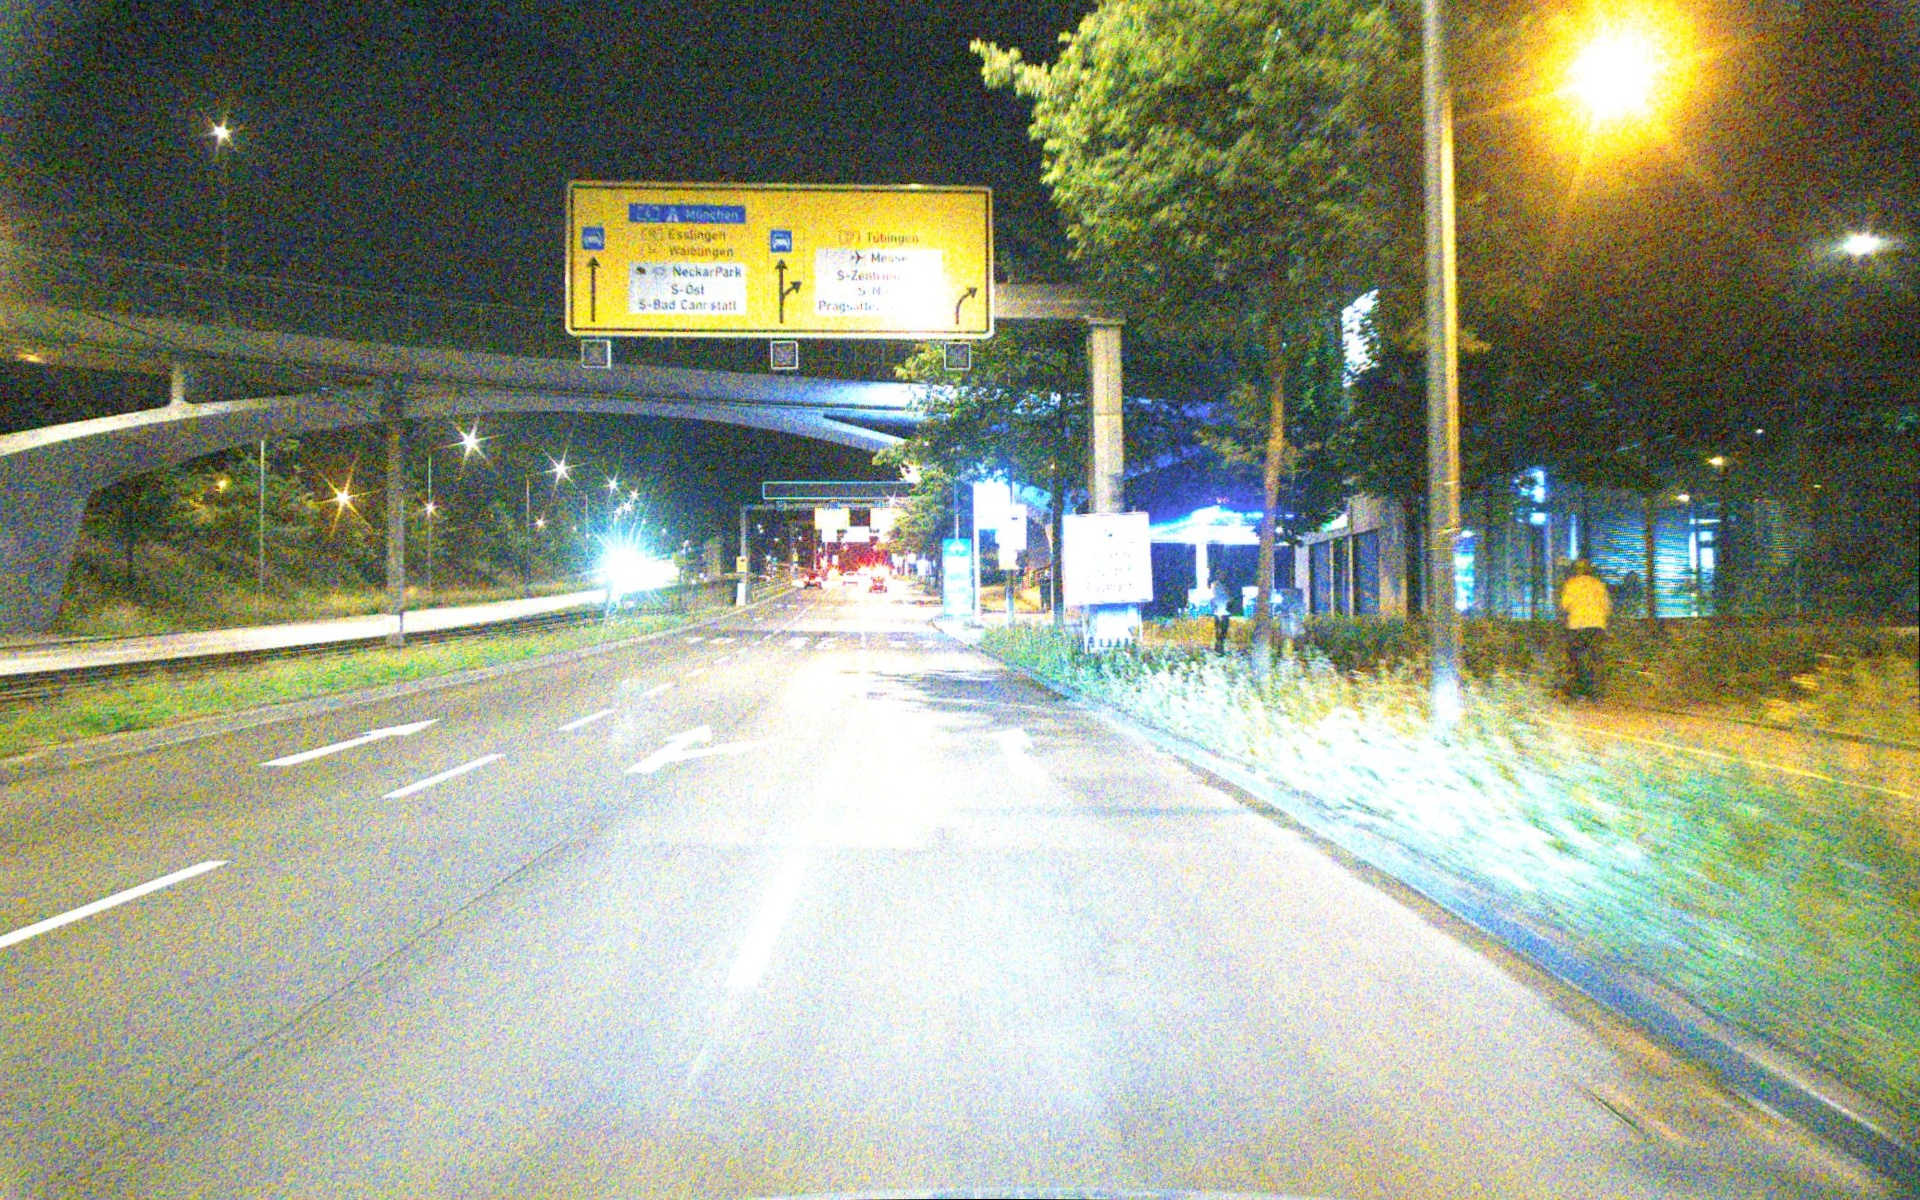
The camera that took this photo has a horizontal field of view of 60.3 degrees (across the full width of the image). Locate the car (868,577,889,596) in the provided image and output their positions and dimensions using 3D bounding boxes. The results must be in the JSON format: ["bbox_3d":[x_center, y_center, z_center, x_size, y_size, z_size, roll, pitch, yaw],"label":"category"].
[{"bbox_3d":[-7.834,-1.334,159.640,1.928,1.741,3.999,1,0,-1],"label":"car"}]

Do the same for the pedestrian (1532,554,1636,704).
[{"bbox_3d":[7.468,0.343,19.826,0.835,1.737,0.957,1,-1,-3],"label":"pedestrian"}]

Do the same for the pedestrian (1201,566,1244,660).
[{"bbox_3d":[5.593,0.278,35.324,0.787,1.946,0.794,-3,0,6],"label":"pedestrian"}]

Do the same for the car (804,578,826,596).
[{"bbox_3d":[-14.660,-1.268,167.148,1.928,1.741,3.999,1,0,-1],"label":"car"}]

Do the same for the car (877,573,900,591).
[{"bbox_3d":[-8.920,-2.211,206.741,2.597,2.049,5.297,1,0,-1],"label":"car"}]

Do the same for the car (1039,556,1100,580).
[{"bbox_3d":[7.660,-2.238,115.852,4.036,1.549,1.821,-2,-1,-2],"label":"car"}]

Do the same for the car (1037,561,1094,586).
[{"bbox_3d":[7.525,-1.865,118.179,3.907,1.598,1.738,-2,0,-2],"label":"car"}]

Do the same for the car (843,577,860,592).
[{"bbox_3d":[-12.733,-1.805,194.051,1.746,1.741,3.999,1,0,-1],"label":"car"}]

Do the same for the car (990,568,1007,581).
[{"bbox_3d":[4.694,-3.088,200.216,1.853,1.538,3.637,1,0,3],"label":"car"}]
